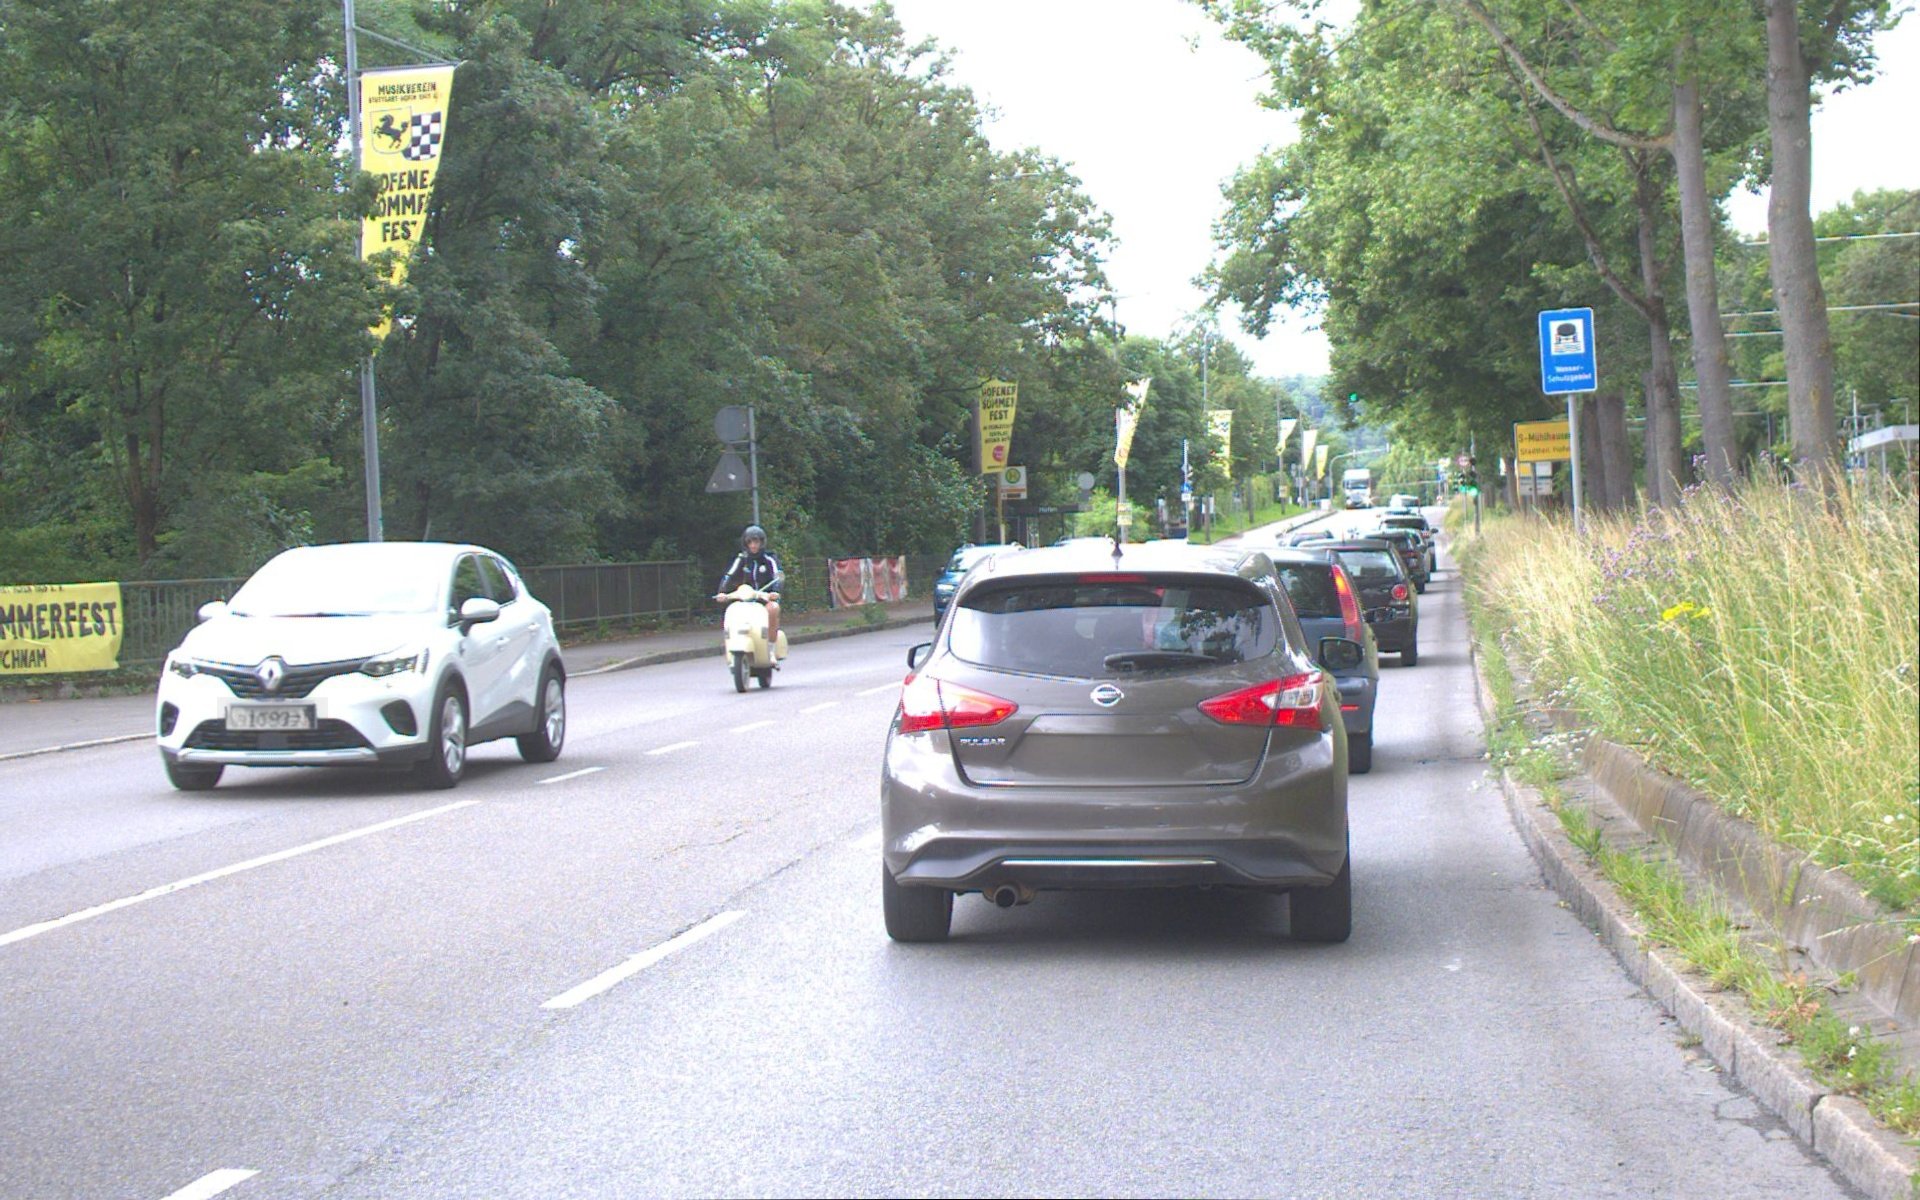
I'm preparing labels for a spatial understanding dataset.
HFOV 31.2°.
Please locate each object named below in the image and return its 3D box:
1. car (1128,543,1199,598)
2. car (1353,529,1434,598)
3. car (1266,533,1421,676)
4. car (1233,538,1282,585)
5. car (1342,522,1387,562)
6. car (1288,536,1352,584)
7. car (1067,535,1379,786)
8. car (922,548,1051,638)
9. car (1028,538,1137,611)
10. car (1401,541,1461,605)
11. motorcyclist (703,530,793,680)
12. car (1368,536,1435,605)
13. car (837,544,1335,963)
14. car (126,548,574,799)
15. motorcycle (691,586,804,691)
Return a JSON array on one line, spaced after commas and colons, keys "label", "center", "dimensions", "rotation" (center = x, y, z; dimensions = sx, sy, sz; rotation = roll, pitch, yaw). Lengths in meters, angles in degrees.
[{"label": "car", "center": [5.910, -0.832, 99.470], "dimensions": [1.752, 1.415, 3.999], "rotation": [-2, -1, 7]}, {"label": "car", "center": [10.095, -0.831, 79.888], "dimensions": [1.805, 1.535, 3.999], "rotation": [0, 0, 8]}, {"label": "car", "center": [4.403, 0.046, 39.925], "dimensions": [1.578, 1.533, 3.999], "rotation": [-2, 0, 4]}, {"label": "car", "center": [11.744, -1.494, 135.688], "dimensions": [1.719, 1.687, 3.724], "rotation": [-2, -1, 7]}, {"label": "car", "center": [16.283, -2.319, 138.174], "dimensions": [1.719, 1.396, 3.724], "rotation": [-2, -1, 7]}, {"label": "car", "center": [11.858, -1.288, 113.090], "dimensions": [1.852, 1.481, 4.419], "rotation": [-1, 0, 9]}, {"label": "car", "center": [1.721, 0.394, 23.682], "dimensions": [1.893, 1.569, 4.000], "rotation": [-1, 0, 1]}, {"label": "car", "center": [0.499, -0.096, 60.058], "dimensions": [1.721, 1.437, 3.998], "rotation": [-2, -1, 8]}, {"label": "car", "center": [2.626, -0.562, 72.826], "dimensions": [1.818, 1.457, 3.999], "rotation": [-2, 1, 9]}, {"label": "car", "center": [15.408, -0.896, 112.364], "dimensions": [1.891, 2.007, 3.999], "rotation": [-1, 1, 8]}, {"label": "motorcyclist", "center": [-2.190, 0.048, 35.641], "dimensions": [0.745, 1.533, 0.790], "rotation": [-1, 1, 10]}, {"label": "car", "center": [11.961, -0.783, 93.196], "dimensions": [1.719, 1.687, 3.998], "rotation": [-2, -1, 7]}, {"label": "car", "center": [0.528, 0.559, 14.285], "dimensions": [1.775, 1.489, 4.000], "rotation": [0, 0, 2]}, {"label": "car", "center": [-3.873, 0.414, 22.505], "dimensions": [1.767, 1.474, 3.999], "rotation": [-1, 1, 7]}, {"label": "motorcycle", "center": [-2.188, 0.388, 35.638], "dimensions": [0.745, 1.030, 1.887], "rotation": [-1, 1, 9]}]
